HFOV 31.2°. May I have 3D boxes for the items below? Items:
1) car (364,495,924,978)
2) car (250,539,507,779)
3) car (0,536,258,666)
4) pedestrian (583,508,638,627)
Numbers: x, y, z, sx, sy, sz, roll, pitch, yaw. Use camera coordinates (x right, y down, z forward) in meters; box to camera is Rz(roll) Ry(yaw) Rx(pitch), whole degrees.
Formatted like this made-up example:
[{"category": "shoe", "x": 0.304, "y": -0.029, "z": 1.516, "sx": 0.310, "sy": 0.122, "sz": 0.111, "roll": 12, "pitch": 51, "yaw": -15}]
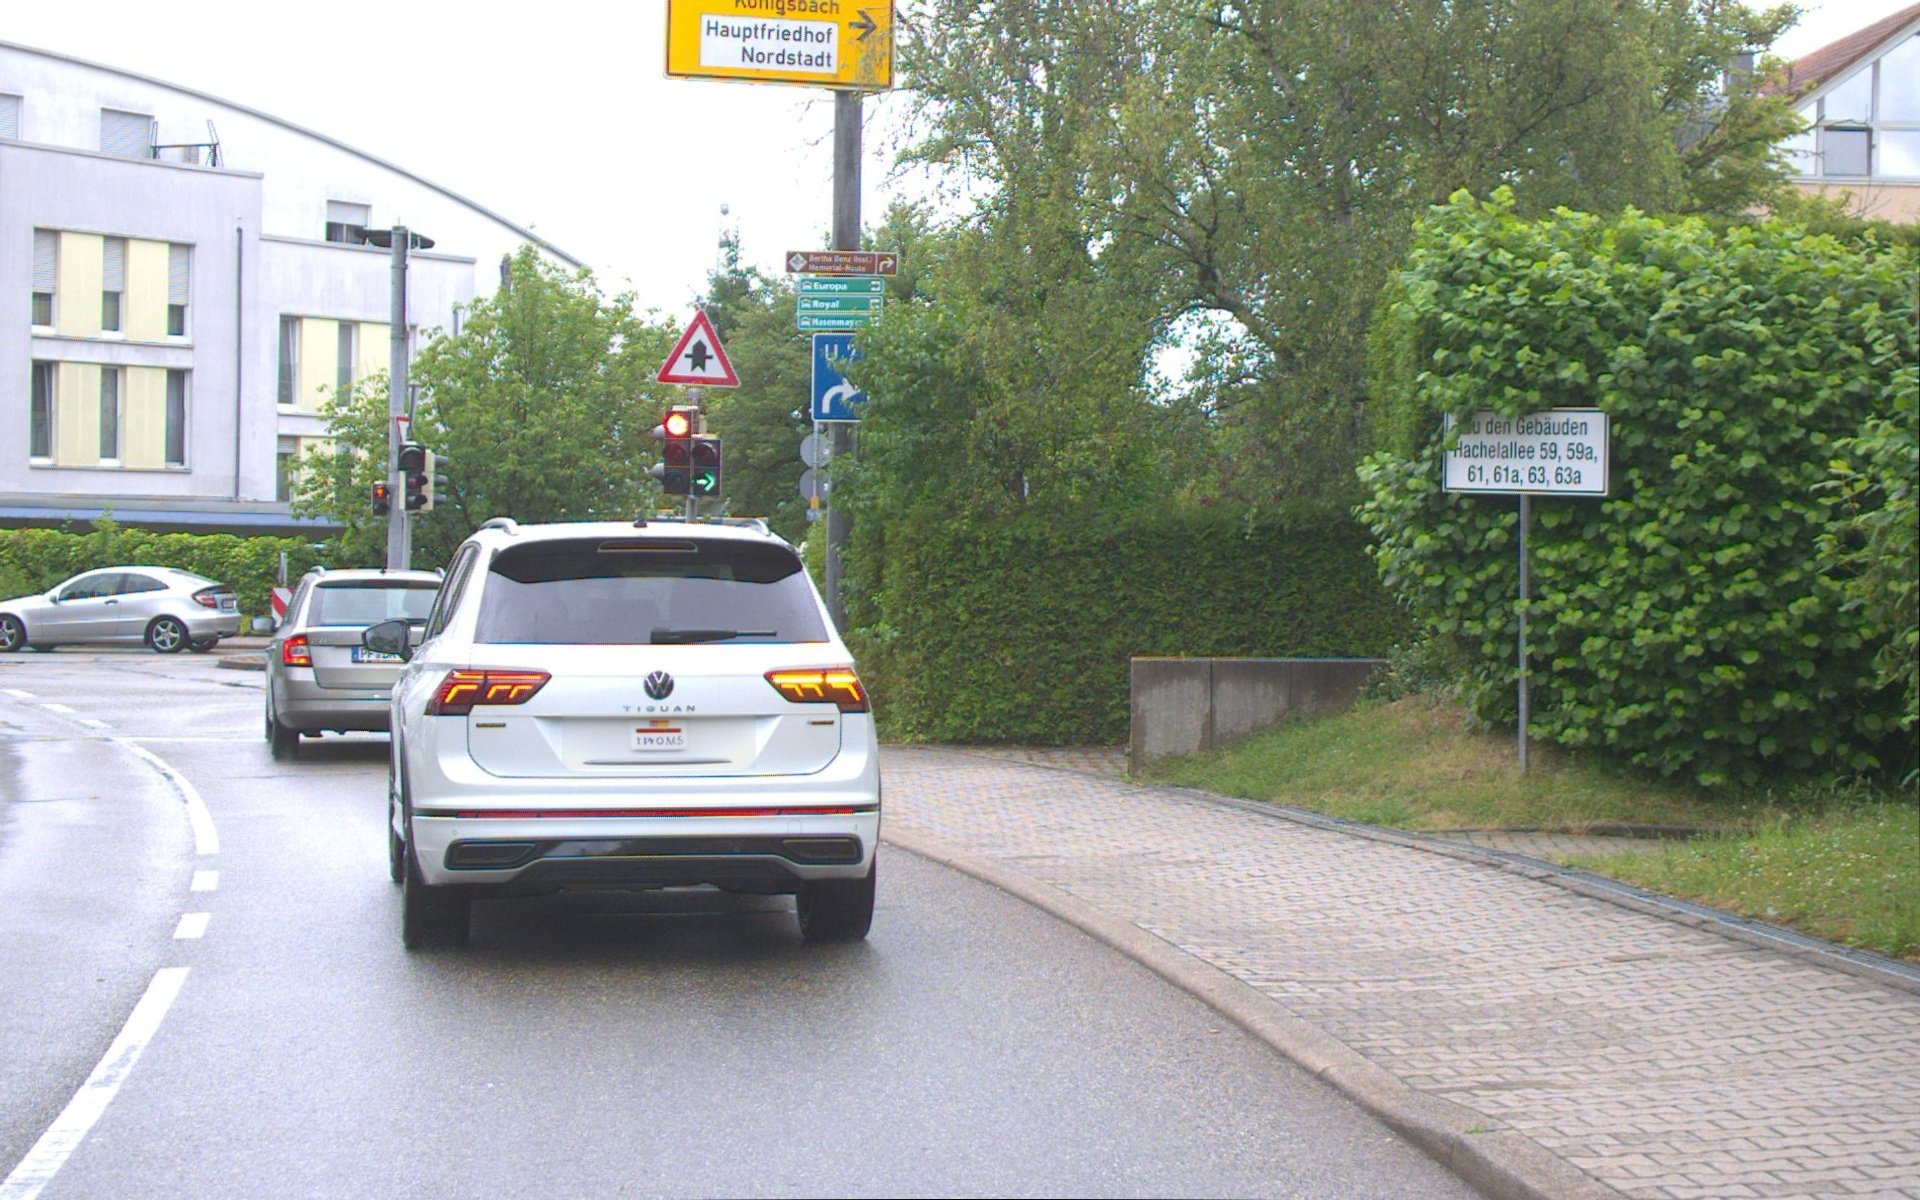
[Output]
[{"category": "car", "x": -1.489, "y": 0.467, "z": 14.495, "sx": 1.920, "sy": 1.716, "sz": 4.266, "roll": 1, "pitch": 1, "yaw": -11}, {"category": "car", "x": -4.683, "y": 0.409, "z": 27.280, "sx": 1.764, "sy": 1.504, "sz": 4.002, "roll": 3, "pitch": 3, "yaw": -12}, {"category": "car", "x": -13.689, "y": -0.002, "z": 55.836, "sx": 3.988, "sy": 1.752, "sz": 2.000, "roll": 4, "pitch": 3, "yaw": 6}, {"category": "pedestrian", "x": -6.065, "y": -0.572, "z": 59.625, "sx": 0.799, "sy": 2.006, "sz": 0.850, "roll": 0, "pitch": 4, "yaw": -14}]
